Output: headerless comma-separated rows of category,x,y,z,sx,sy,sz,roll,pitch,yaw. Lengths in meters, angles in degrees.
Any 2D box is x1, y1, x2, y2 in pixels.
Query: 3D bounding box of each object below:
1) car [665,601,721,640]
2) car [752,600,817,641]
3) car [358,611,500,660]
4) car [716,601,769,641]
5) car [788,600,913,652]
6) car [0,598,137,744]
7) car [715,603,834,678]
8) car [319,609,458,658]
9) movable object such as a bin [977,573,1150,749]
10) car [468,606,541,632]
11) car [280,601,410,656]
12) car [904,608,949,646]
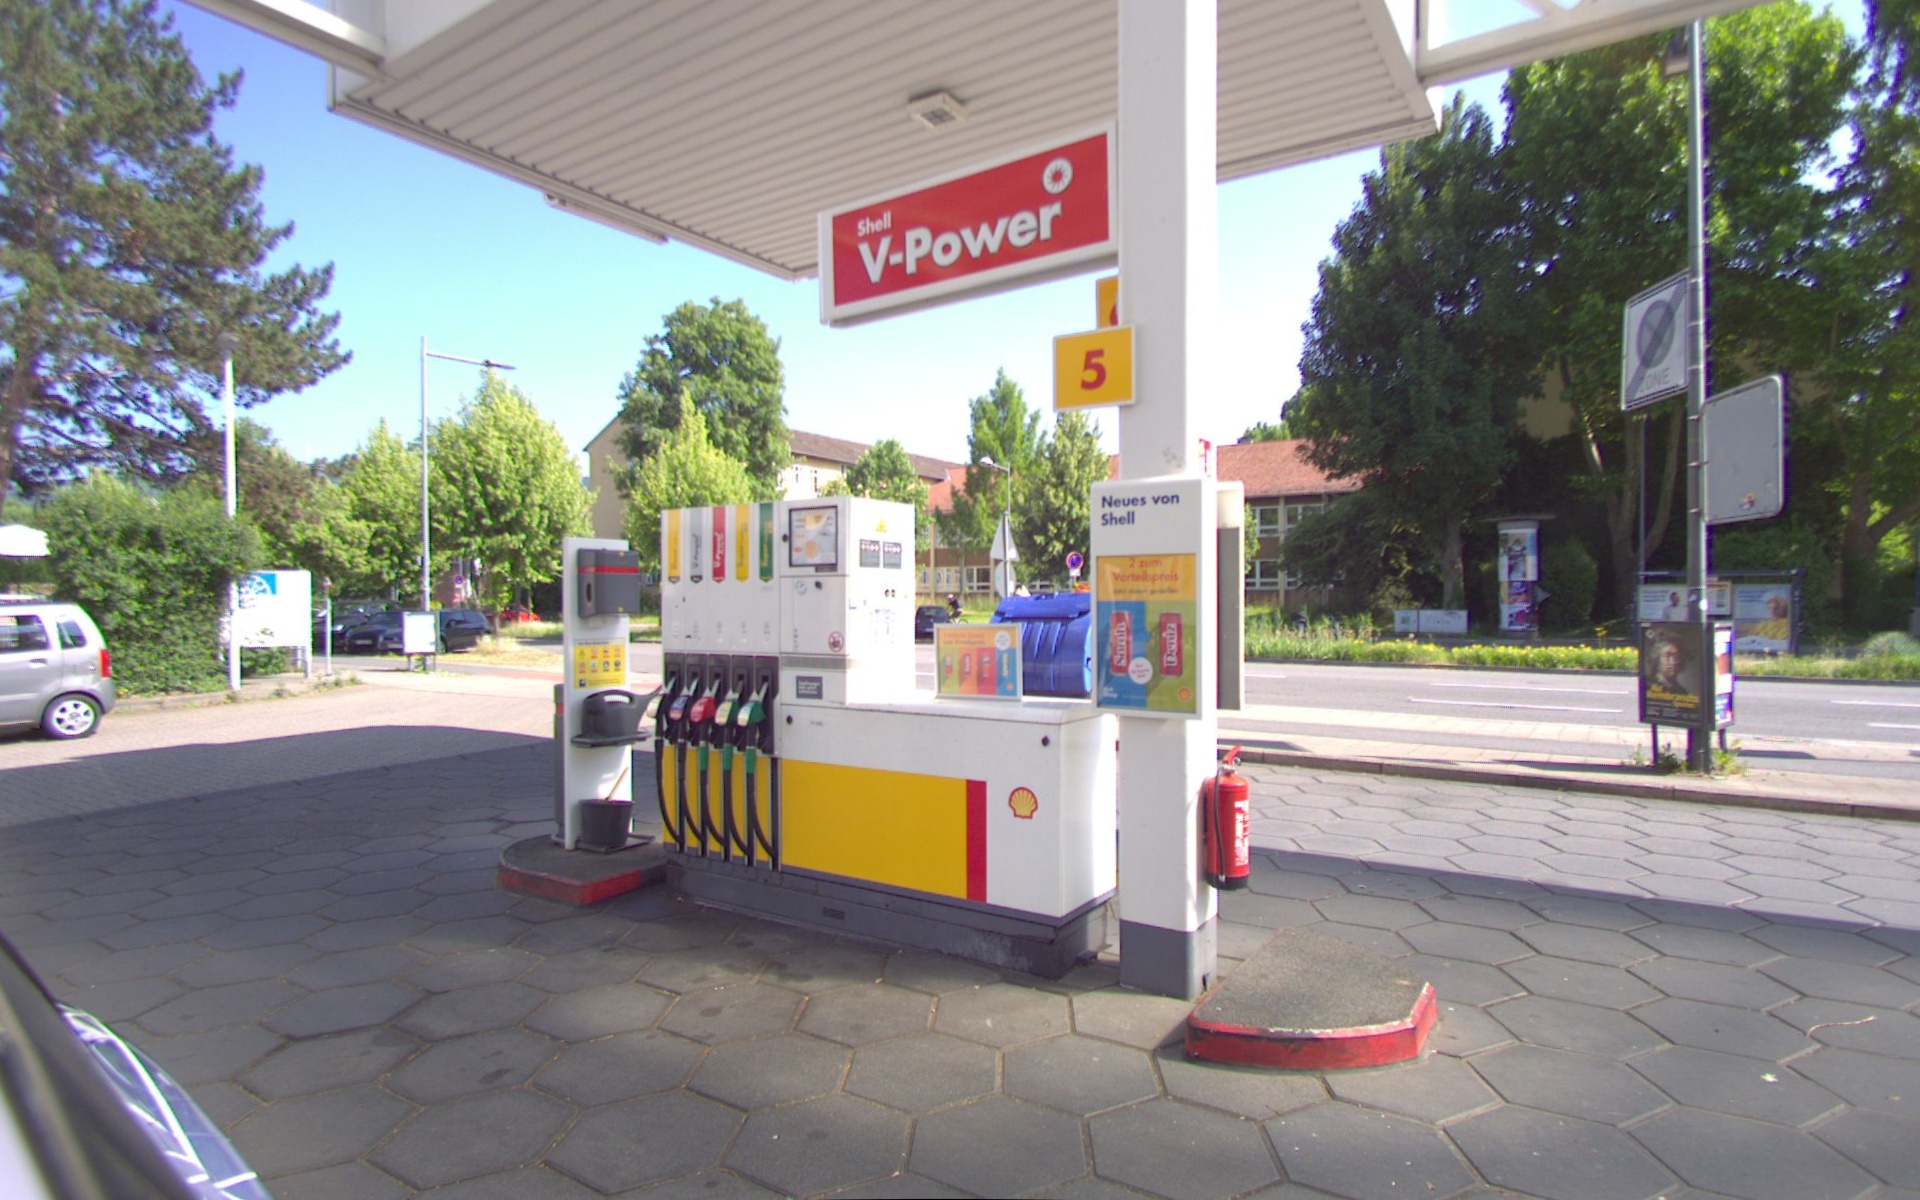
car,-12.556,0.966,47.774,1.853,1.735,4.231,1,-2,-5
car,-7.822,0.937,45.493,1.857,1.735,4.220,1,-1,5
car,-16.502,1.102,31.696,1.859,1.428,4.216,0,-2,7
car,-10.018,0.998,46.920,1.853,1.735,4.231,1,-2,-5
car,-4.053,0.906,37.162,4.380,1.782,1.976,0,0,35
car,-11.897,0.841,11.511,1.689,1.629,3.619,0,1,35
car,-4.574,0.964,25.635,1.937,1.719,4.302,-1,-1,4
car,-18.703,1.078,33.351,1.859,1.493,4.216,0,-1,7
movable object such as a bin,1.112,0.615,10.704,1.334,1.701,1.327,0,-3,35
car,-25.894,1.116,57.652,1.864,1.401,3.708,1,-2,15
car,-20.920,0.954,34.639,1.682,1.733,4.401,0,-1,2
car,-1.388,1.102,41.240,1.716,1.471,4.227,0,-2,-2
